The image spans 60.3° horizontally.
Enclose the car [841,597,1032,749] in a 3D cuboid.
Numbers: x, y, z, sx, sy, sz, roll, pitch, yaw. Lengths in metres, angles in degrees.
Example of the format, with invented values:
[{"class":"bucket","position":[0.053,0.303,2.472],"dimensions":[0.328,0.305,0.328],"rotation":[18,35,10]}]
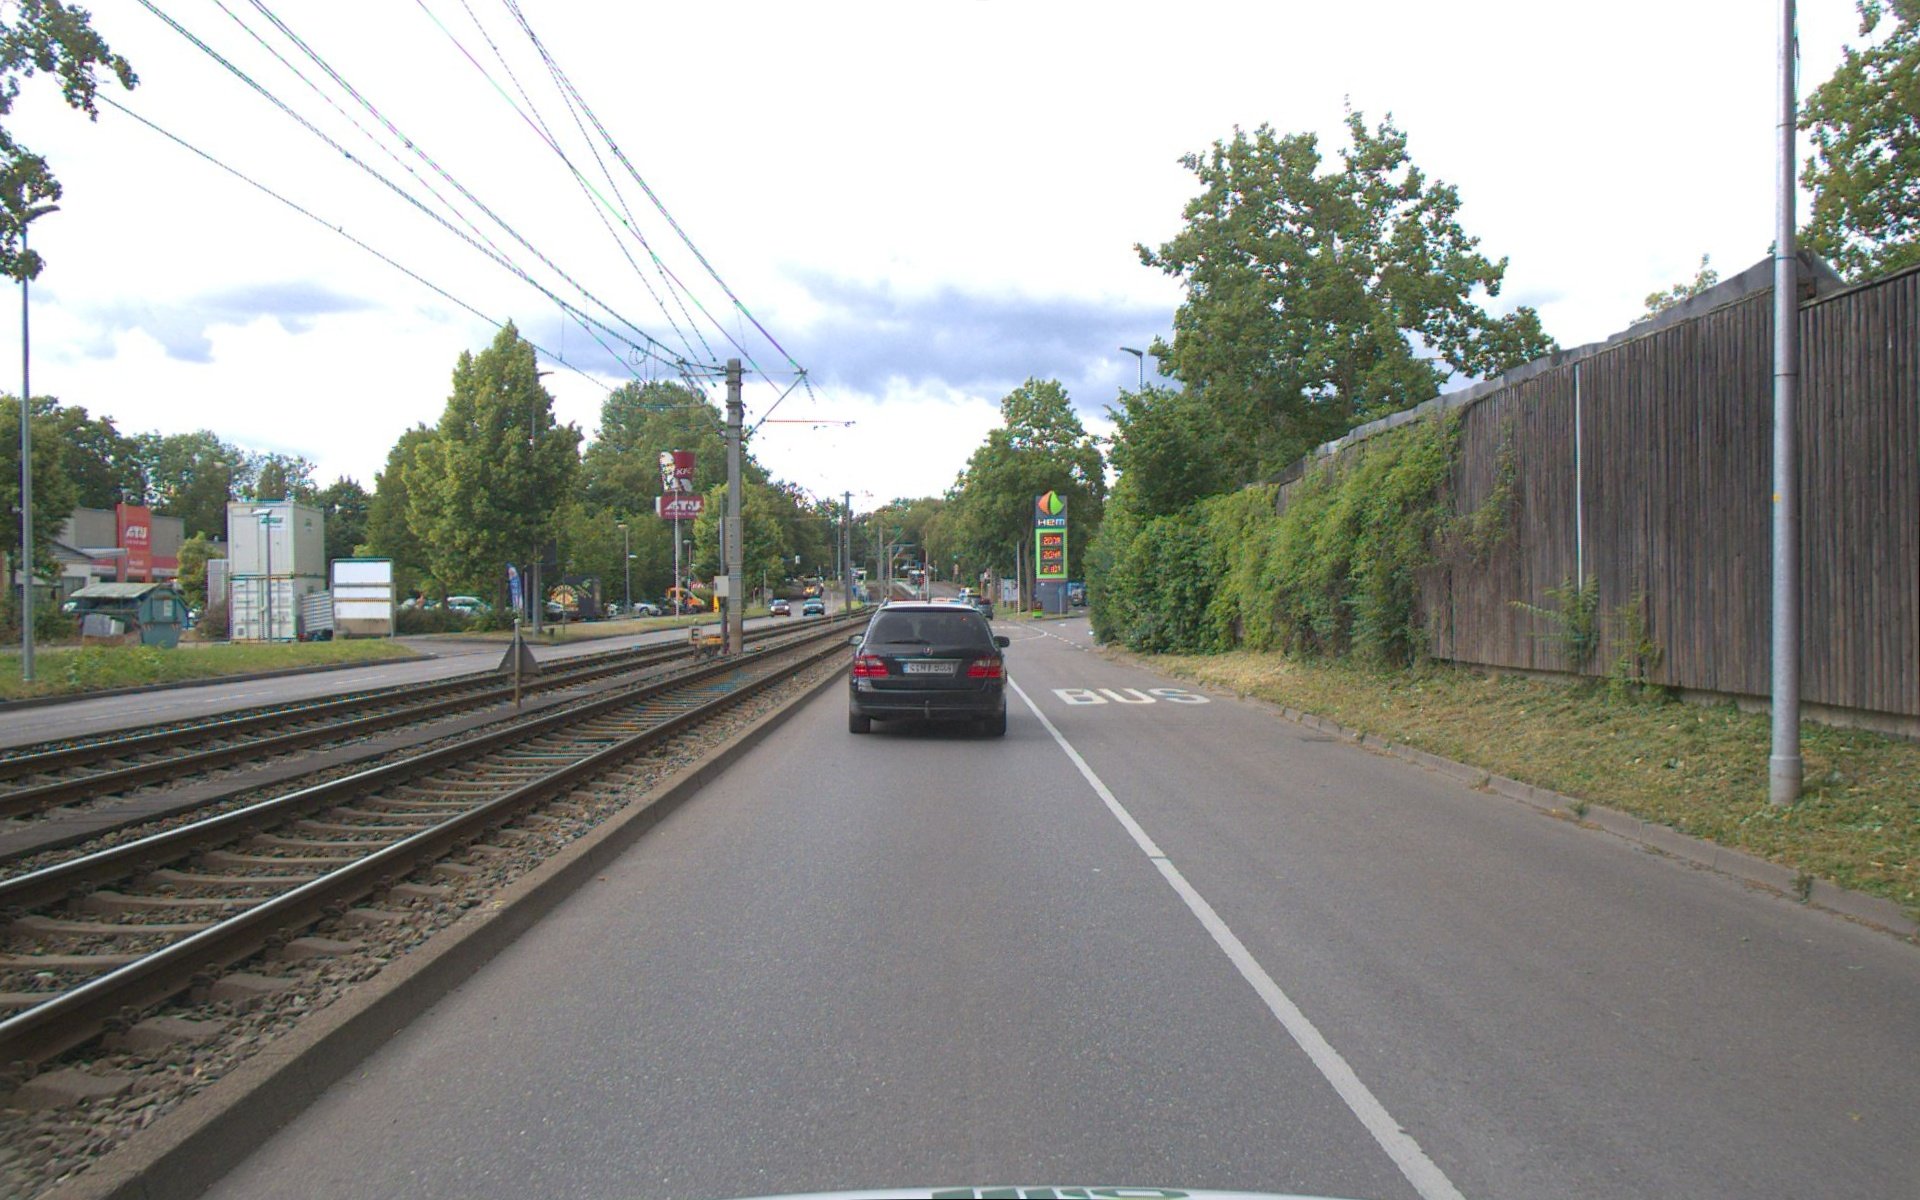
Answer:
[{"class":"car","position":[-0.366,0.727,18.382],"dimensions":[1.774,1.500,3.876],"rotation":[1,0,-6]}]
